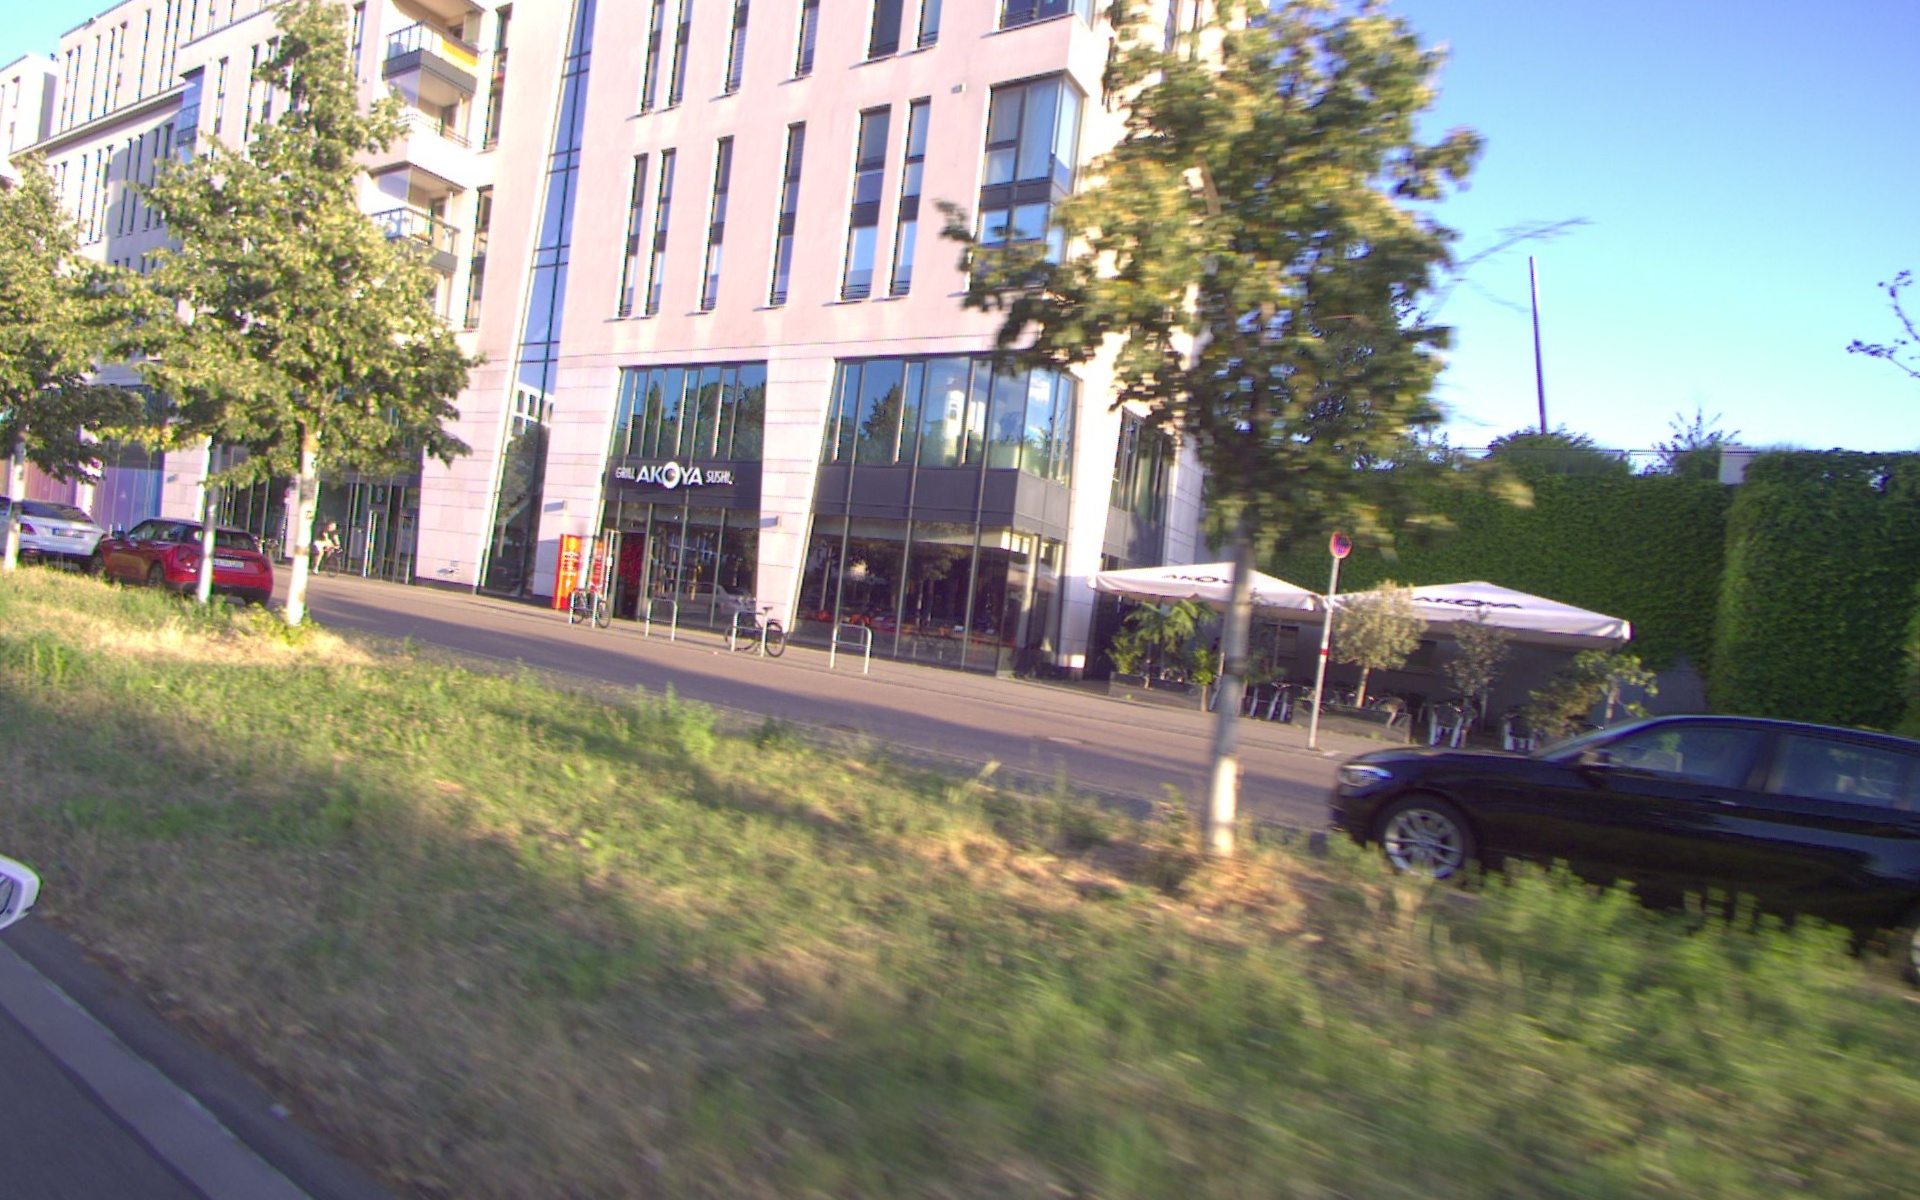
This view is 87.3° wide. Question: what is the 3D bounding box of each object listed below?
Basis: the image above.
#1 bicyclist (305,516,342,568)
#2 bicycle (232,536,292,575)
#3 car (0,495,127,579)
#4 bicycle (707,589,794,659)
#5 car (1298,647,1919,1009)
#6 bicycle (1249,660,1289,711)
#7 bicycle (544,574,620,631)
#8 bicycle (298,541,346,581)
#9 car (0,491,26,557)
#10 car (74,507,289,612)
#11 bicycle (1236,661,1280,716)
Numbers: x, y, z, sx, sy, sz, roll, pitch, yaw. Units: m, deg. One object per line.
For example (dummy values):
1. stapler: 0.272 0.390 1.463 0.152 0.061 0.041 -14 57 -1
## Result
1. bicyclist: -20.848 -1.892 32.958 1.003 1.588 0.544 6 0 35
2. bicycle: -22.166 -1.412 31.951 2.223 1.046 0.621 6 0 31
3. car: -21.046 -1.515 22.638 4.926 1.519 1.924 6 -1 31
4. bicycle: -4.346 0.492 20.828 1.642 1.246 0.618 6 0 30
5. car: 4.716 1.371 6.569 4.299 1.518 1.811 6 -2 35
6. bicycle: 7.464 2.054 24.238 0.491 1.121 1.798 6 0 27
7. bicycle: -8.927 0.057 23.735 1.837 1.143 0.547 6 2 30
8. bicycle: -20.904 -1.283 32.951 1.883 1.132 0.543 6 0 35
9. car: -27.088 -2.254 26.732 4.740 1.642 1.958 6 -3 31
10. car: -14.673 -0.772 18.933 3.893 1.519 1.811 6 0 31
11. bicycle: 6.652 1.949 22.391 0.491 1.121 1.798 6 0 27
